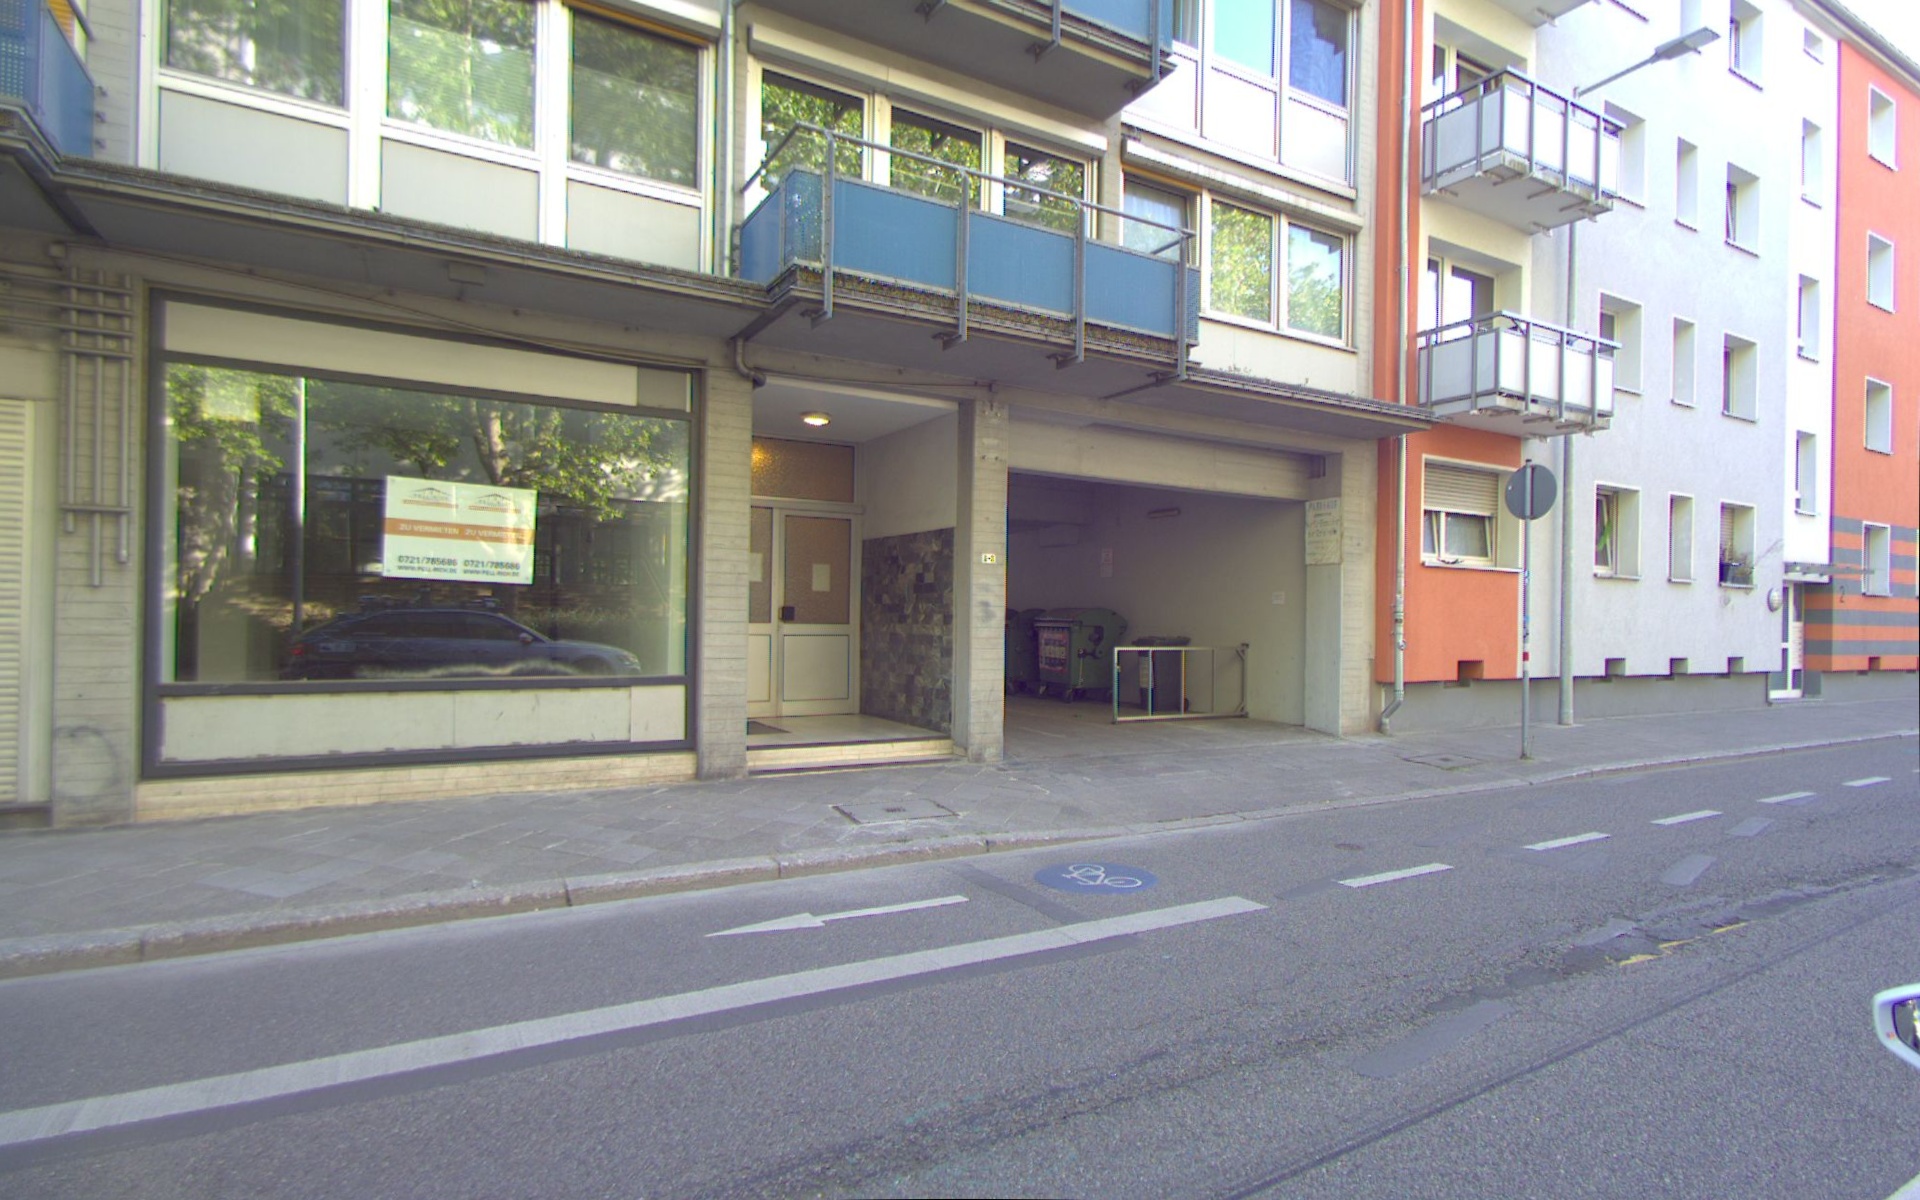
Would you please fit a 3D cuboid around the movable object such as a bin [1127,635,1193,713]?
[{"bbox_3d":[2.879,1.049,14.496,0.667,1.079,0.639,1,0,-30],"label":"movable object such as a bin"}]

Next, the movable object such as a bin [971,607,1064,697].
[{"bbox_3d":[0.970,0.861,17.165,1.116,1.444,1.201,1,0,-30],"label":"movable object such as a bin"}]

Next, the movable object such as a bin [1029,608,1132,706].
[{"bbox_3d":[1.882,0.867,15.806,1.116,1.444,1.201,1,0,-30],"label":"movable object such as a bin"}]

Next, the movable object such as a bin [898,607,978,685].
[{"bbox_3d":[-0.448,0.875,19.612,1.116,1.444,1.201,1,0,-30],"label":"movable object such as a bin"}]

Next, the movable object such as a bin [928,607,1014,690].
[{"bbox_3d":[0.199,0.868,18.463,1.116,1.444,1.201,1,0,-30],"label":"movable object such as a bin"}]
